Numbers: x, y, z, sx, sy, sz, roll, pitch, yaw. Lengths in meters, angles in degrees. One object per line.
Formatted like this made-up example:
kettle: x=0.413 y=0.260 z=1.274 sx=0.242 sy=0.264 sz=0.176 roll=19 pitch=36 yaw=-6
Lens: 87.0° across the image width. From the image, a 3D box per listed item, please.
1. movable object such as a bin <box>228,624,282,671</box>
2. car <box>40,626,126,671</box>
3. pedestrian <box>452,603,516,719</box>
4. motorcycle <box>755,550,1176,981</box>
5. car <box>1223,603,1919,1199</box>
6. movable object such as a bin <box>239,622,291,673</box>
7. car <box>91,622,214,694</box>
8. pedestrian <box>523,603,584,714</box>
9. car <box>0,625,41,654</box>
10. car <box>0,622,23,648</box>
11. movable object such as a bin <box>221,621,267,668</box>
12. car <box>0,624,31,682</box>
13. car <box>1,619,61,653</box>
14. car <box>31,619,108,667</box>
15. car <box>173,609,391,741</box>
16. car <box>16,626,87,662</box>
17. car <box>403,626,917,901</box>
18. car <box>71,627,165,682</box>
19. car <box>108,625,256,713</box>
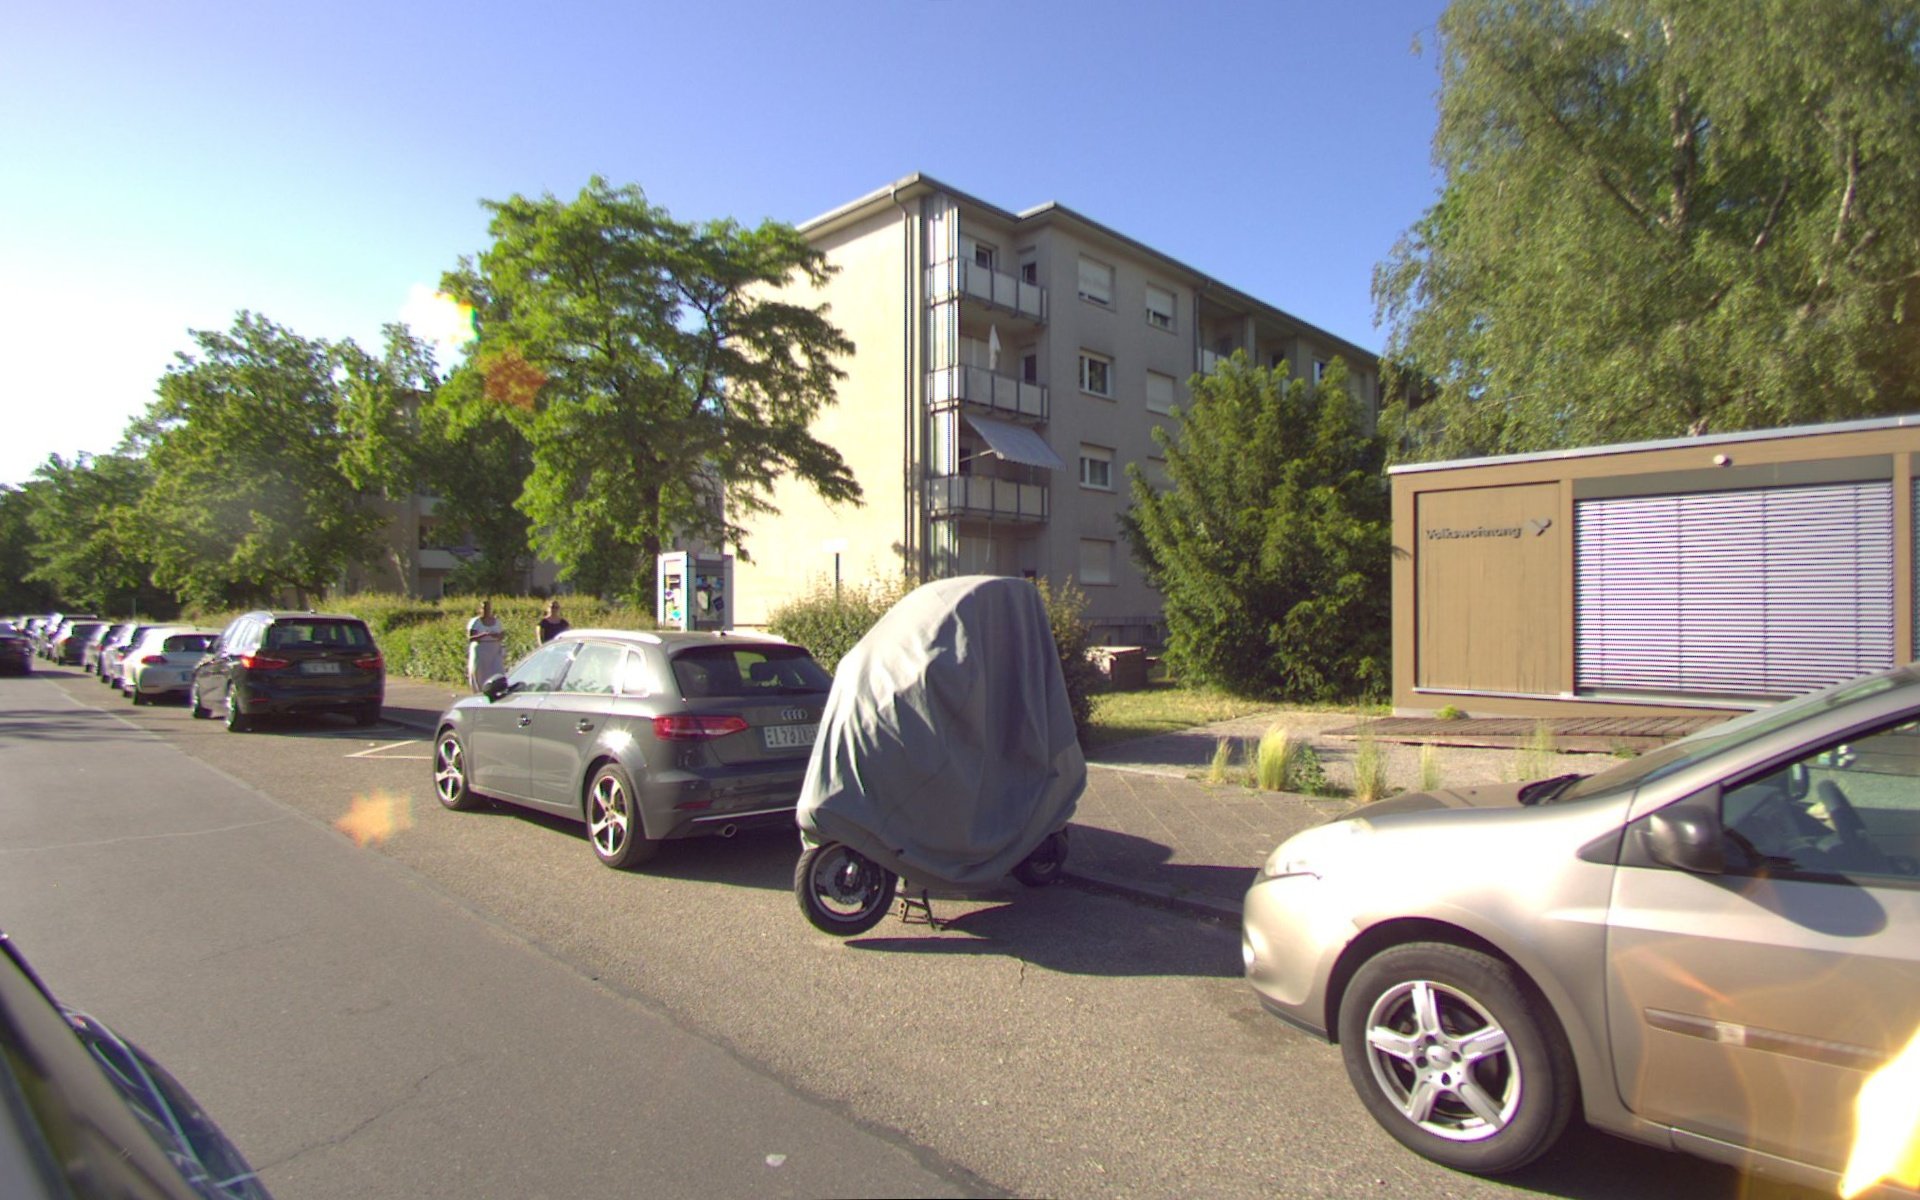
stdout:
movable object such as a bin: x=-21.938 y=1.460 z=31.493 sx=1.257 sy=1.376 sz=1.107 roll=-1 pitch=1 yaw=42
car: x=-29.705 y=1.599 z=34.229 sx=4.675 sy=1.396 sz=1.735 roll=-1 pitch=-2 yaw=43
pedestrian: x=-7.212 y=0.902 z=15.340 sx=0.616 sy=1.692 sz=0.712 roll=-2 pitch=-1 yaw=44
motorcycle: x=0.146 y=0.729 z=5.266 sx=0.932 sy=1.740 sz=2.232 roll=-1 pitch=-4 yaw=41
car: x=2.834 y=0.786 z=2.412 sx=1.734 sy=1.492 sz=3.962 roll=4 pitch=-4 yaw=-44
movable object such as a bin: x=-20.956 y=1.409 z=30.514 sx=1.326 sy=1.425 sz=0.991 roll=-1 pitch=1 yaw=42
car: x=-18.943 y=1.332 z=23.654 sx=1.733 sy=1.501 sz=4.904 roll=5 pitch=-5 yaw=-44
pedestrian: x=-6.384 y=0.897 z=15.899 sx=0.600 sy=1.692 sz=0.712 roll=-2 pitch=-1 yaw=44
car: x=-51.261 y=2.115 z=54.784 sx=3.939 sy=1.490 sz=1.787 roll=-1 pitch=-3 yaw=42
car: x=-55.269 y=1.994 z=58.114 sx=3.876 sy=1.490 sz=1.614 roll=-1 pitch=-3 yaw=39
movable object such as a bin: x=-22.938 y=1.405 z=32.419 sx=1.326 sy=1.425 sz=0.885 roll=-1 pitch=1 yaw=42
car: x=-26.633 y=1.394 z=27.400 sx=4.572 sy=1.488 sz=1.889 roll=-2 pitch=-2 yaw=44
car: x=-46.176 y=1.799 z=50.281 sx=4.431 sy=1.618 sz=1.787 roll=-1 pitch=-3 yaw=42
car: x=-33.341 y=1.590 z=37.862 sx=4.390 sy=1.681 sz=1.735 roll=-2 pitch=-3 yaw=43
car: x=-10.042 y=1.018 z=14.850 sx=4.372 sy=1.648 sz=1.734 roll=-1 pitch=-4 yaw=44
car: x=-37.722 y=1.806 z=41.999 sx=4.168 sy=1.396 sz=1.621 roll=-1 pitch=-3 yaw=41
car: x=-2.420 y=0.936 z=7.444 sx=4.270 sy=1.432 sz=1.734 roll=-1 pitch=-4 yaw=44
car: x=-24.162 y=1.523 z=29.002 sx=3.496 sy=1.475 sz=1.630 roll=-2 pitch=-3 yaw=43
car: x=-14.856 y=1.242 z=19.238 sx=1.733 sy=1.436 sz=4.214 roll=4 pitch=-3 yaw=-44
